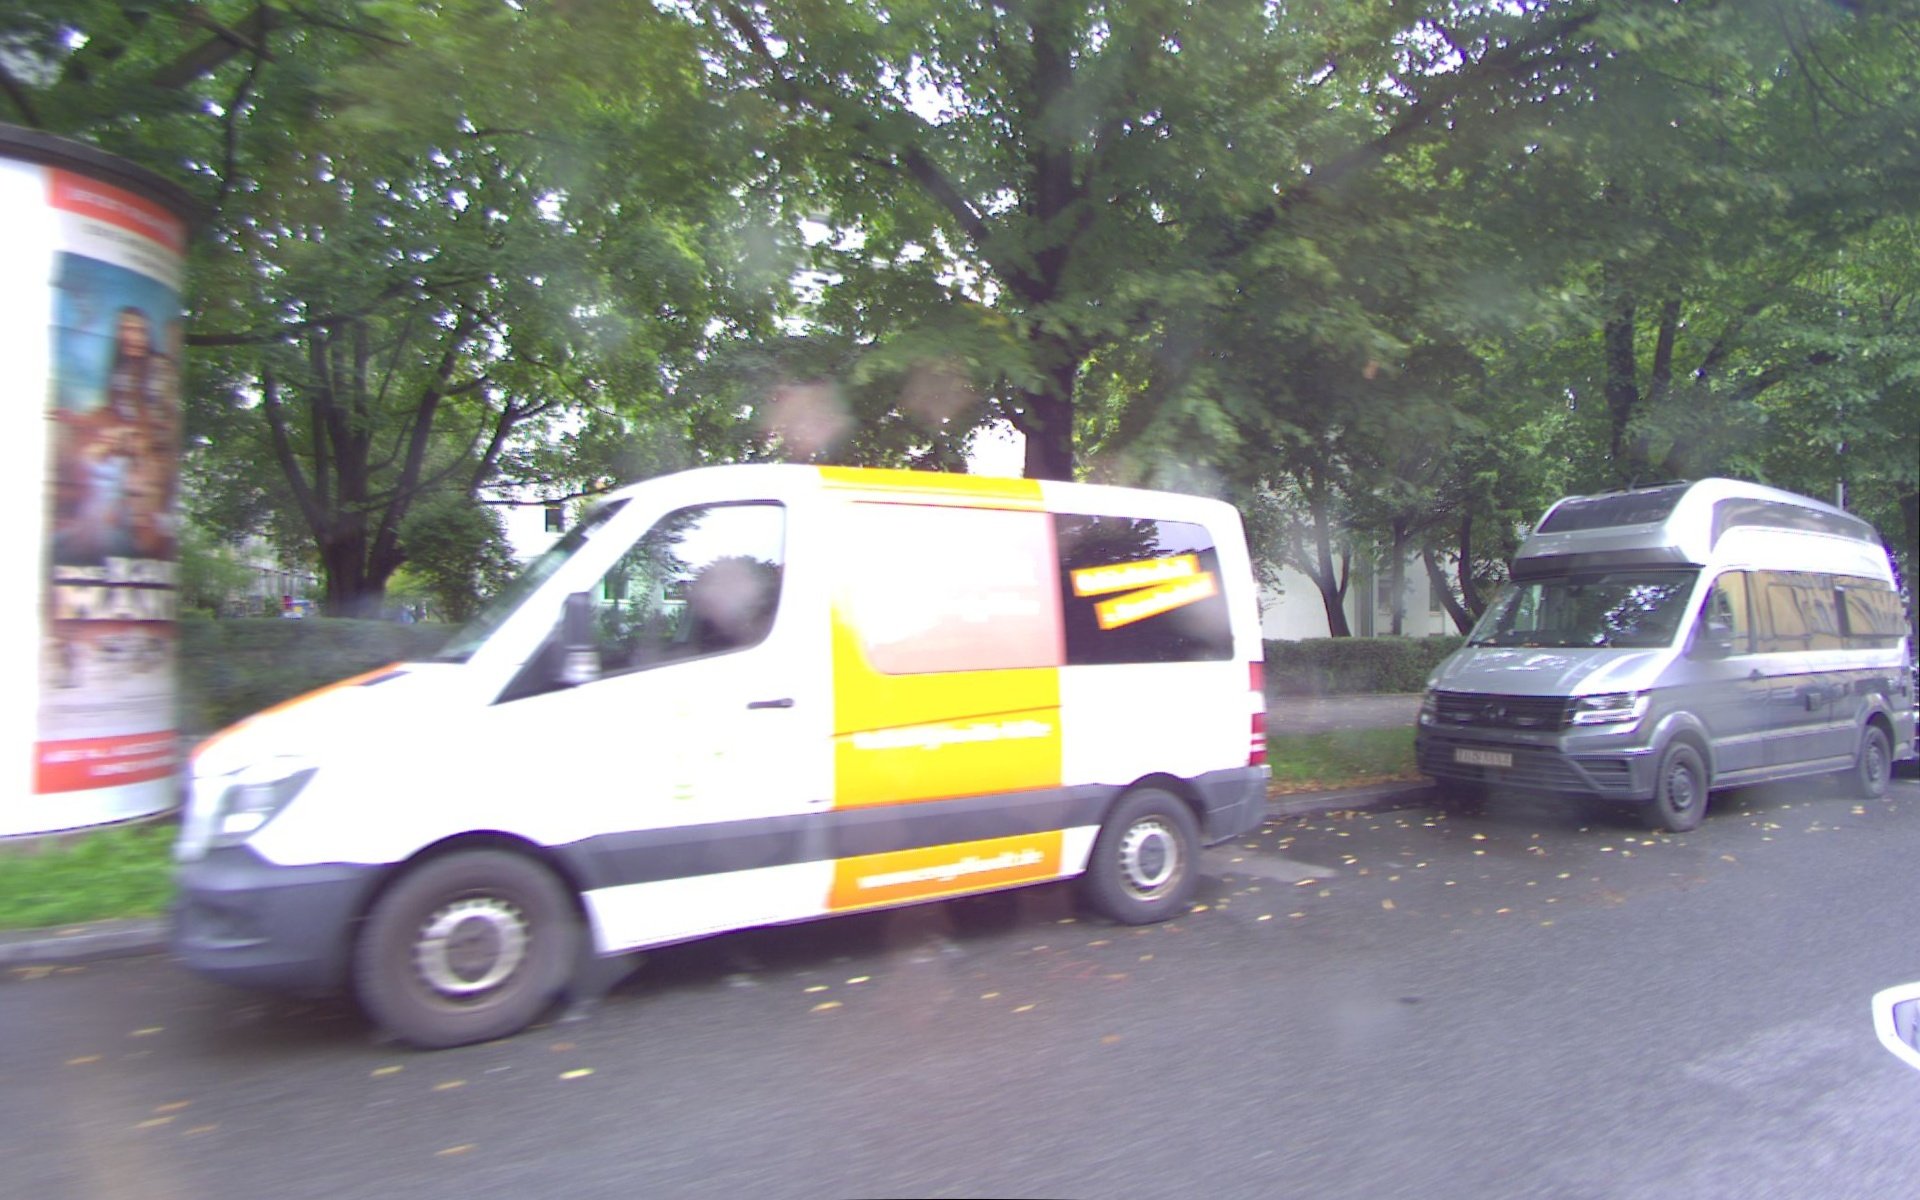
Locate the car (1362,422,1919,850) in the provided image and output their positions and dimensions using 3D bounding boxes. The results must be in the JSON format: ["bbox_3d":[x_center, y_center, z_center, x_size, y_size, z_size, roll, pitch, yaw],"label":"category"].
[{"bbox_3d":[6.791,0.347,9.649,6.160,3.042,2.162,2,-2,-30],"label":"car"}]

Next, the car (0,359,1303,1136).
[{"bbox_3d":[-0.990,0.538,5.221,5.535,2.294,2.075,1,-3,-29],"label":"car"}]

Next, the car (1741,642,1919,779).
[{"bbox_3d":[11.698,1.269,12.464,3.956,1.439,1.982,2,-2,-33],"label":"car"}]
